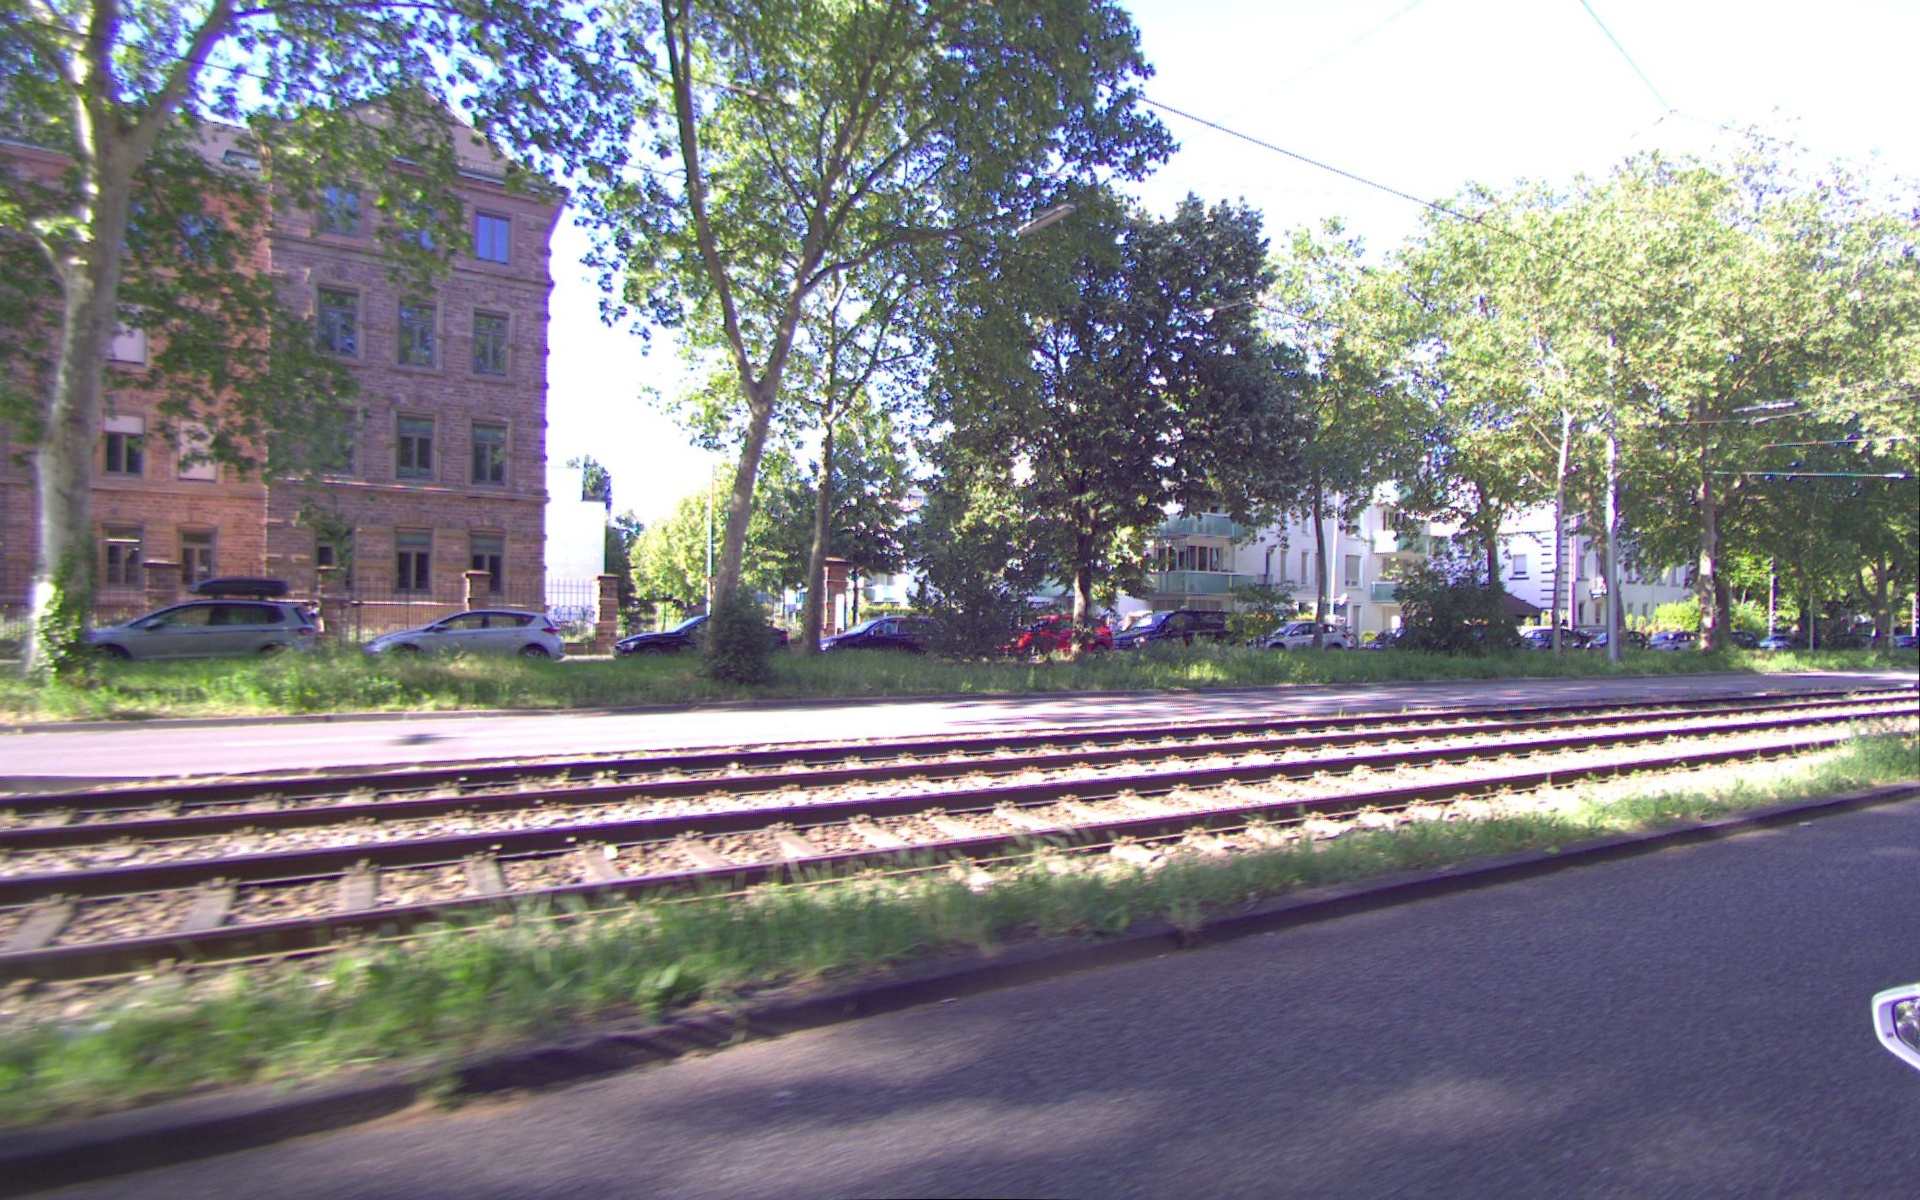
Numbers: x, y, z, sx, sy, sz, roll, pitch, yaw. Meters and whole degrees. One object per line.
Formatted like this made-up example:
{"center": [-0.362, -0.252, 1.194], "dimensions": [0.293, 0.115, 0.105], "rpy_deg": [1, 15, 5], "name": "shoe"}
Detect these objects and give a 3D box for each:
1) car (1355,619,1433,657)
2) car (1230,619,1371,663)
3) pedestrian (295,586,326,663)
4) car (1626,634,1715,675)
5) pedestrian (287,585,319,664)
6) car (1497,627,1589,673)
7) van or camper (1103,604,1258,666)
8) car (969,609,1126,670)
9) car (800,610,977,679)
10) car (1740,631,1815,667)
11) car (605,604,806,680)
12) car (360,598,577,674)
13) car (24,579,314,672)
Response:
{"center": [23.719, 2.071, 54.913], "dimensions": [3.952, 2.040, 1.985], "rpy_deg": [1, -1, -30], "name": "car"}
{"center": [13.047, 1.596, 38.507], "dimensions": [5.012, 1.619, 2.025], "rpy_deg": [1, -3, -21], "name": "car"}
{"center": [-17.547, 0.666, 27.151], "dimensions": [0.618, 2.040, 0.711], "rpy_deg": [1, -1, -30], "name": "pedestrian"}
{"center": [37.587, 2.837, 53.117], "dimensions": [4.625, 2.040, 1.986], "rpy_deg": [1, -1, -28], "name": "car"}
{"center": [-17.275, 0.656, 26.404], "dimensions": [0.618, 2.040, 0.711], "rpy_deg": [1, -2, -30], "name": "pedestrian"}
{"center": [27.223, 2.296, 46.899], "dimensions": [4.045, 2.040, 1.984], "rpy_deg": [1, -1, -30], "name": "car"}
{"center": [7.735, 1.222, 35.138], "dimensions": [5.157, 2.040, 2.255], "rpy_deg": [2, -1, -31], "name": "van or camper"}
{"center": [2.820, 1.238, 32.084], "dimensions": [4.685, 1.833, 2.097], "rpy_deg": [1, -1, -32], "name": "car"}
{"center": [-2.039, 1.245, 29.038], "dimensions": [4.686, 1.833, 2.097], "rpy_deg": [1, -1, -33], "name": "car"}
{"center": [48.735, 2.894, 59.872], "dimensions": [4.629, 2.040, 1.984], "rpy_deg": [1, -1, -30], "name": "car"}
{"center": [-6.625, 1.067, 26.277], "dimensions": [4.685, 1.833, 2.098], "rpy_deg": [1, -1, -32], "name": "car"}
{"center": [-11.389, 0.827, 23.515], "dimensions": [4.362, 1.637, 1.987], "rpy_deg": [1, -1, -27], "name": "car"}
{"center": [-16.001, 0.531, 20.651], "dimensions": [4.362, 1.742, 1.762], "rpy_deg": [1, -1, -27], "name": "car"}
